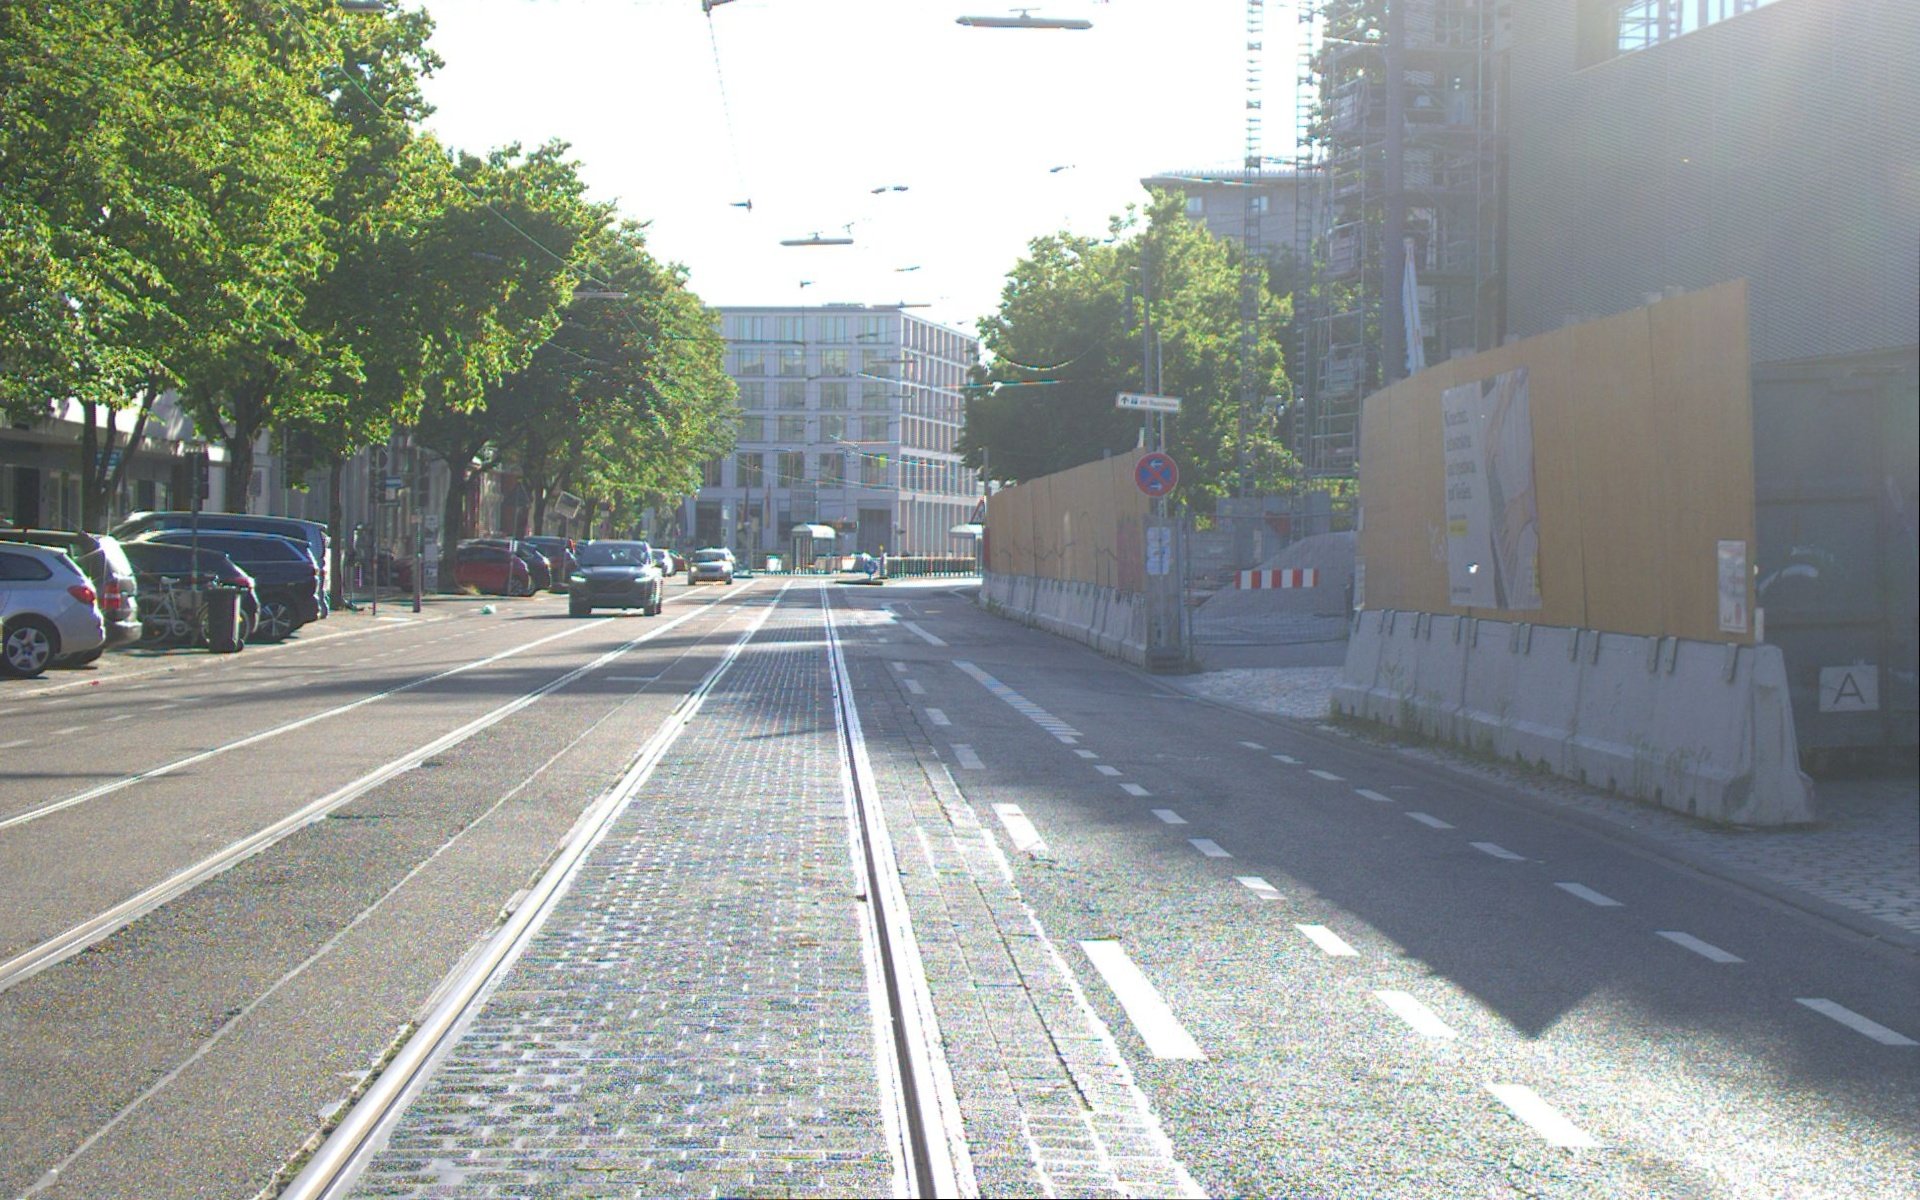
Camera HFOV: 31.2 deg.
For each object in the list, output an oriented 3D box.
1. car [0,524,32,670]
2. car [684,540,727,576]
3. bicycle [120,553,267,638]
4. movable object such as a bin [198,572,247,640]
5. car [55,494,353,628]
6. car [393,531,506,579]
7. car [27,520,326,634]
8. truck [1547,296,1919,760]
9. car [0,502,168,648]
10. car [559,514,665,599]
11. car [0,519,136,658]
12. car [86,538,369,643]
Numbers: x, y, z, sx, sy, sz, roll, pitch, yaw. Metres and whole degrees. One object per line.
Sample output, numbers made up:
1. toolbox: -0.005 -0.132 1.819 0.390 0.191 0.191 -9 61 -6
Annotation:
1. car: -11.560 -0.089 35.695 3.362 1.488 1.613 2 1 -30
2. car: -10.417 -1.717 140.611 1.709 1.431 4.172 0 1 -4
3. bicycle: -10.880 -0.063 48.815 1.965 1.140 0.493 2 1 -20
4. movable object such as a bin: -10.339 0.077 48.182 0.575 0.910 0.575 2 2 -18
5. car: -12.223 -0.631 55.590 4.353 1.980 1.950 2 1 -24
6. car: -14.548 -1.276 97.991 2.933 1.327 1.215 -1 1 -30
7. car: -12.058 -0.384 52.898 4.234 1.679 1.811 -1 1 -23
8. truck: 6.036 -0.539 24.653 2.519 2.899 5.507 -2 1 -1
9. car: -11.943 -0.374 42.046 4.103 1.672 1.841 3 1 -4
10. car: -7.571 -0.976 75.133 1.927 1.623 4.250 -3 3 -2
11. car: -11.557 -0.174 38.597 4.103 1.507 1.841 1 1 -28
12. car: -10.787 -0.166 50.581 3.855 1.471 1.844 -1 1 -20
